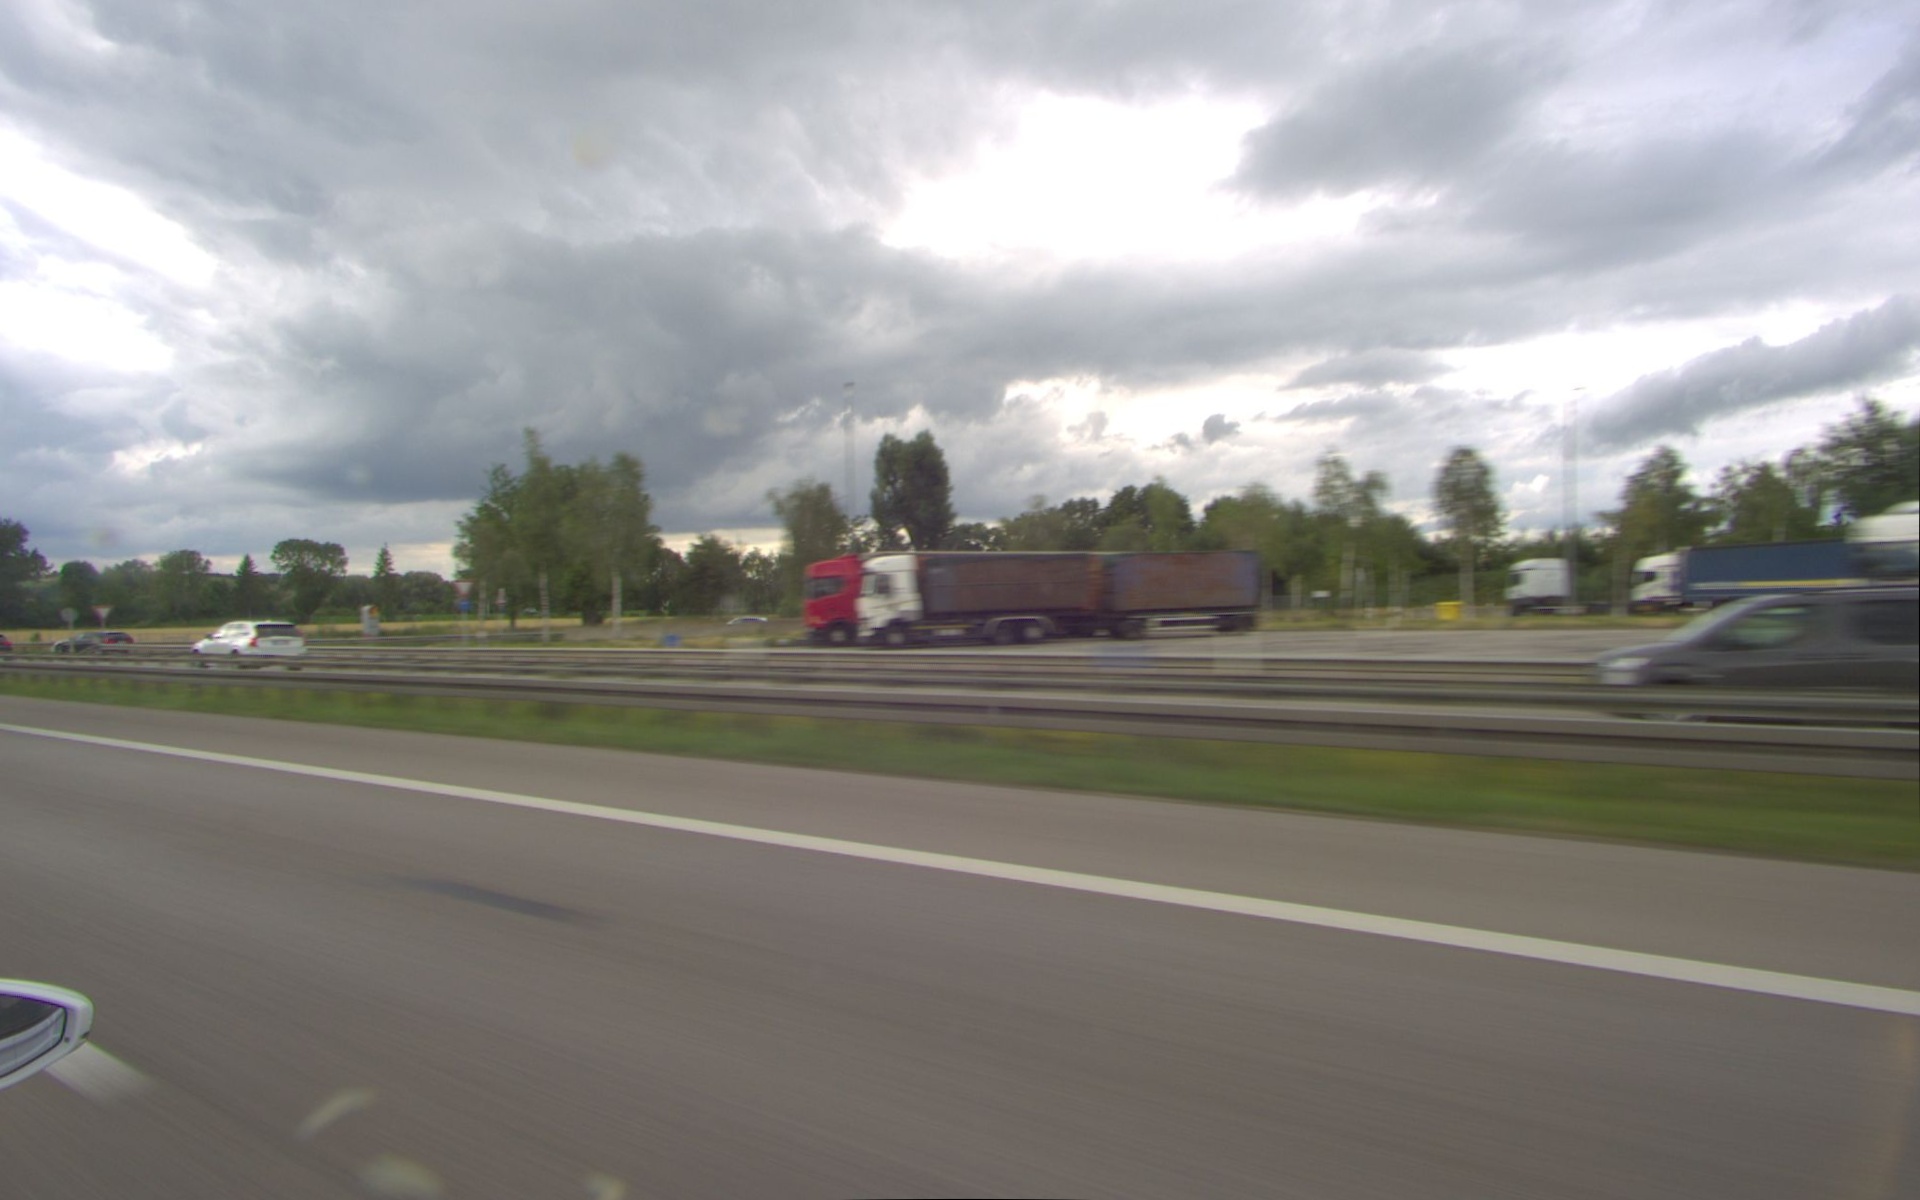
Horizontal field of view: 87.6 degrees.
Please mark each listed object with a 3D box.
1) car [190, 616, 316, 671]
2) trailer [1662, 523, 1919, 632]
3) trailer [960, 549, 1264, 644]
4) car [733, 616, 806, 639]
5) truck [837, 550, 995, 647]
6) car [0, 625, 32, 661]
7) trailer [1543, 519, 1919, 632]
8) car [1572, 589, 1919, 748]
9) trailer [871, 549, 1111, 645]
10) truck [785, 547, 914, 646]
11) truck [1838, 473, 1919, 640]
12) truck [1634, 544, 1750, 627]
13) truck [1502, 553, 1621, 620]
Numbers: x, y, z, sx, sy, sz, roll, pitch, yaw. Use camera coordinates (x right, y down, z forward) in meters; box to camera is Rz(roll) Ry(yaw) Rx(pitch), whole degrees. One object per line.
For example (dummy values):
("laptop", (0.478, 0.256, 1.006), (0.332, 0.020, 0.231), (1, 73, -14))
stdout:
("car", (-24.598, 1.486, 34.785), (4.993, 1.780, 1.824), (-1, 0, 33))
("trailer", (40.753, -0.818, 47.137), (2.898, 4.443, 14.390), (0, -2, -13))
("trailer", (6.641, -0.205, 43.827), (12.961, 3.892, 2.746), (-1, 0, -11))
("car", (-12.677, 1.834, 66.473), (4.694, 1.486, 1.999), (0, -2, -13))
("truck", (-1.916, -0.071, 42.173), (6.274, 3.900, 2.754), (-1, 0, -11))
("car", (-50.155, 2.235, 51.910), (4.993, 1.780, 1.824), (-1, 0, 33))
("trailer", (36.470, -0.727, 49.166), (2.588, 4.443, 16.490), (0, -2, -15))
("car", (10.331, 0.783, 12.543), (4.529, 1.780, 1.824), (-1, 0, 33))
("trailer", (1.415, -0.095, 46.843), (10.902, 4.278, 2.597), (0, -2, -11))
("truck", (-5.066, -0.074, 45.526), (5.588, 4.307, 2.591), (0, -2, -12))
("truck", (26.200, -1.060, 26.153), (4.447, 4.187, 2.614), (0, -2, -9))
("truck", (39.237, -0.695, 53.836), (2.892, 4.210, 4.121), (0, -2, -13))
("truck", (34.296, -0.675, 57.335), (2.610, 3.482, 5.626), (0, -2, -15))
